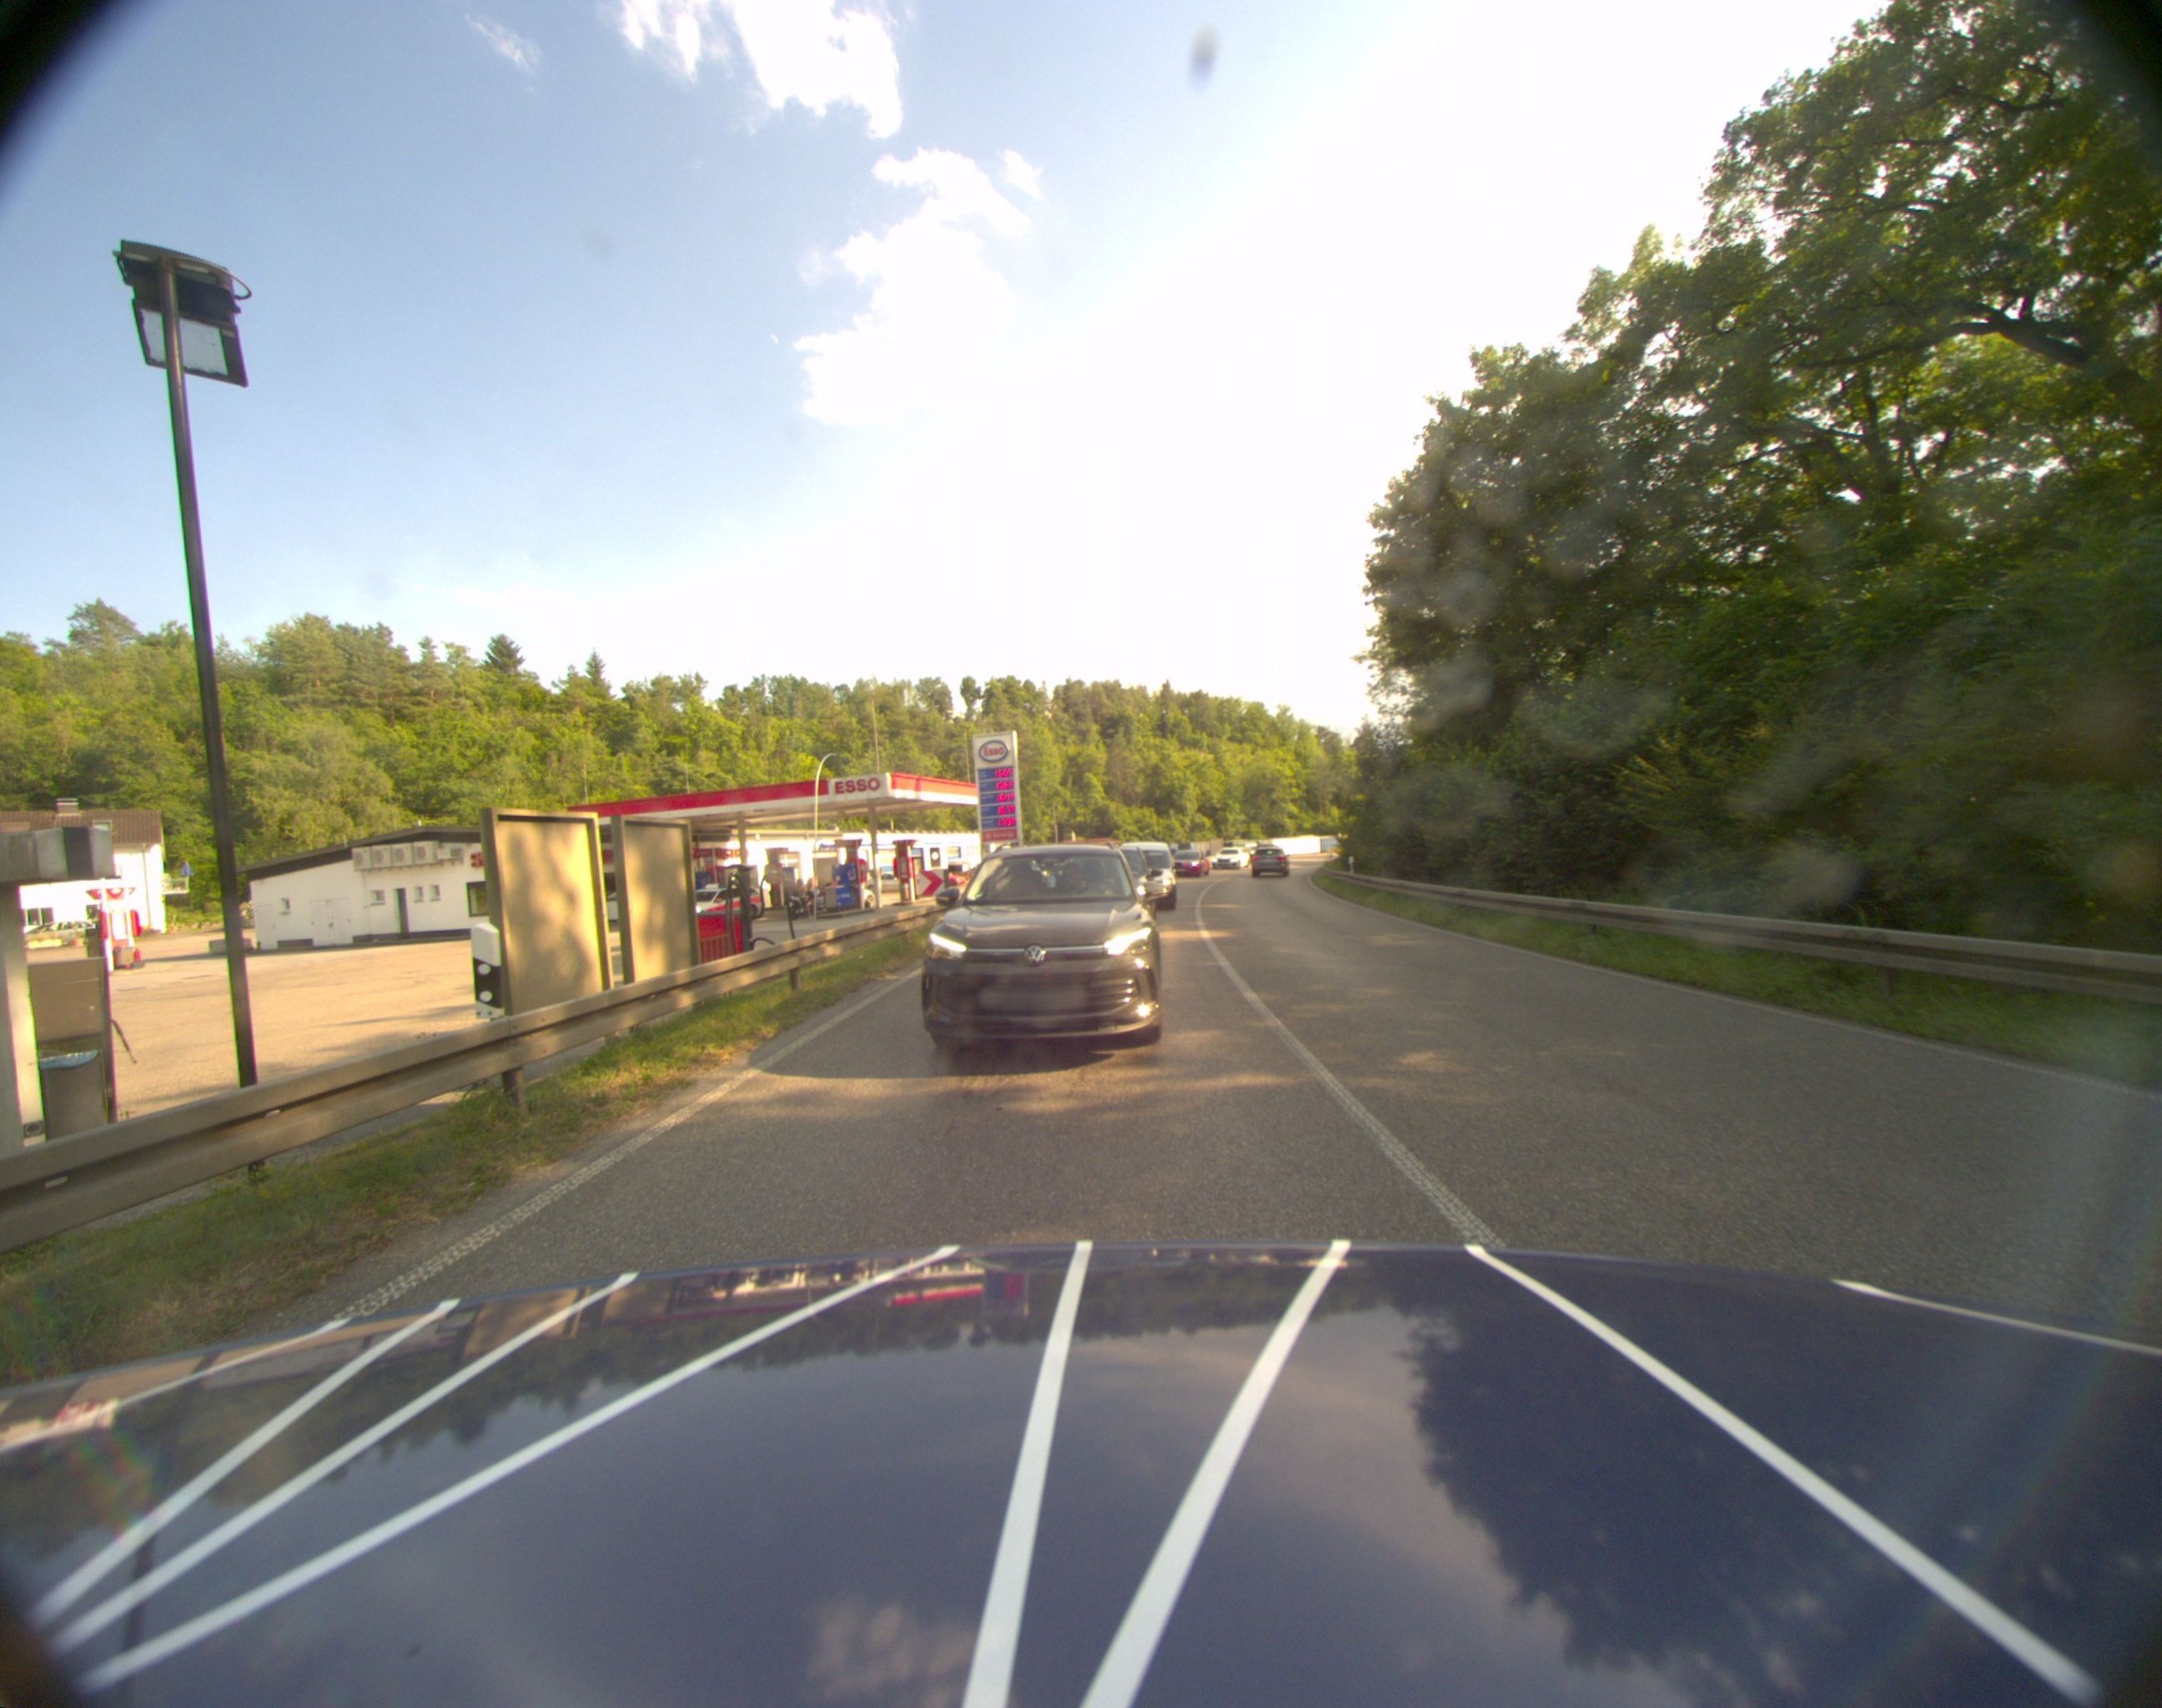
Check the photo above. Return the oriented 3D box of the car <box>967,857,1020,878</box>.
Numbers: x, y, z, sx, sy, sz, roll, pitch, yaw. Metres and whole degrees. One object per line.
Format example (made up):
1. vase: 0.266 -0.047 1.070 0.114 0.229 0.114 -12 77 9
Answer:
1. car: -7.768 1.197 67.768 4.254 1.719 1.893 -1 1 12

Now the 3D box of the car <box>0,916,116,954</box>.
1. car: -65.108 5.084 47.842 2.694 1.826 5.175 -4 0 41

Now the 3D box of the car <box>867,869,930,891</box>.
1. car: -12.912 1.859 53.833 3.963 1.347 1.778 -2 1 11

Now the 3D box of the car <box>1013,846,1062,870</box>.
1. car: -4.843 0.417 84.623 4.915 2.435 2.209 -1 1 13

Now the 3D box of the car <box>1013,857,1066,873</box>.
1. car: -3.986 1.099 73.509 4.727 1.426 1.959 -1 1 13

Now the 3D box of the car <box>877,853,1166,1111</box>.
1. car: -0.235 0.858 7.253 1.859 1.630 4.442 -2 0 4

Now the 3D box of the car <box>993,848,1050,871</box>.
1. car: -6.310 0.588 81.064 5.481 2.261 2.297 -1 1 15

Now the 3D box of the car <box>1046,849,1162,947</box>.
1. car: 0.606 0.736 14.904 1.847 1.561 4.259 -2 1 7

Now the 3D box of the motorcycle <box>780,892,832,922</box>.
1. motorcycle: -11.269 2.159 31.187 0.763 1.006 2.343 -3 1 14

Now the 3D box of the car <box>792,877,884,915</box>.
1. car: -10.992 1.872 34.727 1.845 1.311 4.394 -3 0 15

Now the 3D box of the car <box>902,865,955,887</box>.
1. car: -11.719 1.684 58.479 3.549 1.437 1.735 -3 1 15

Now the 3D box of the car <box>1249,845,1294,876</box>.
1. car: 10.258 0.341 40.773 1.869 1.555 4.006 -2 -1 20

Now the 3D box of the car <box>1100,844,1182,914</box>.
1. car: 1.802 0.610 21.215 1.866 1.710 4.766 -1 0 9

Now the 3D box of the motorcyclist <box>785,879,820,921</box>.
1. motorcyclist: -11.354 1.860 30.951 0.859 1.595 0.928 -3 1 14

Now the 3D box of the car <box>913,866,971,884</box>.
1. car: -11.059 1.683 60.509 4.072 1.340 1.896 -1 1 15

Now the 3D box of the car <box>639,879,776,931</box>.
1. car: -15.083 2.018 31.078 2.095 1.618 5.185 -3 0 14

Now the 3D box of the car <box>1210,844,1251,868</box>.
1. car: 10.641 0.116 53.680 1.913 1.457 4.543 -4 0 22

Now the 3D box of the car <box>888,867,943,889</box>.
1. car: -12.275 1.809 56.323 3.555 1.398 1.692 -3 1 15

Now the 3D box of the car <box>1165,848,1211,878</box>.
1. car: 6.024 0.465 42.262 1.857 1.412 4.423 -4 0 16

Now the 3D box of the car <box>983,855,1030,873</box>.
1. car: -7.509 1.017 76.455 4.246 1.601 1.896 -2 1 15

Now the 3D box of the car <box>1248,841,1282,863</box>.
1. car: 15.776 -0.200 65.016 1.857 1.587 4.543 -4 0 25
